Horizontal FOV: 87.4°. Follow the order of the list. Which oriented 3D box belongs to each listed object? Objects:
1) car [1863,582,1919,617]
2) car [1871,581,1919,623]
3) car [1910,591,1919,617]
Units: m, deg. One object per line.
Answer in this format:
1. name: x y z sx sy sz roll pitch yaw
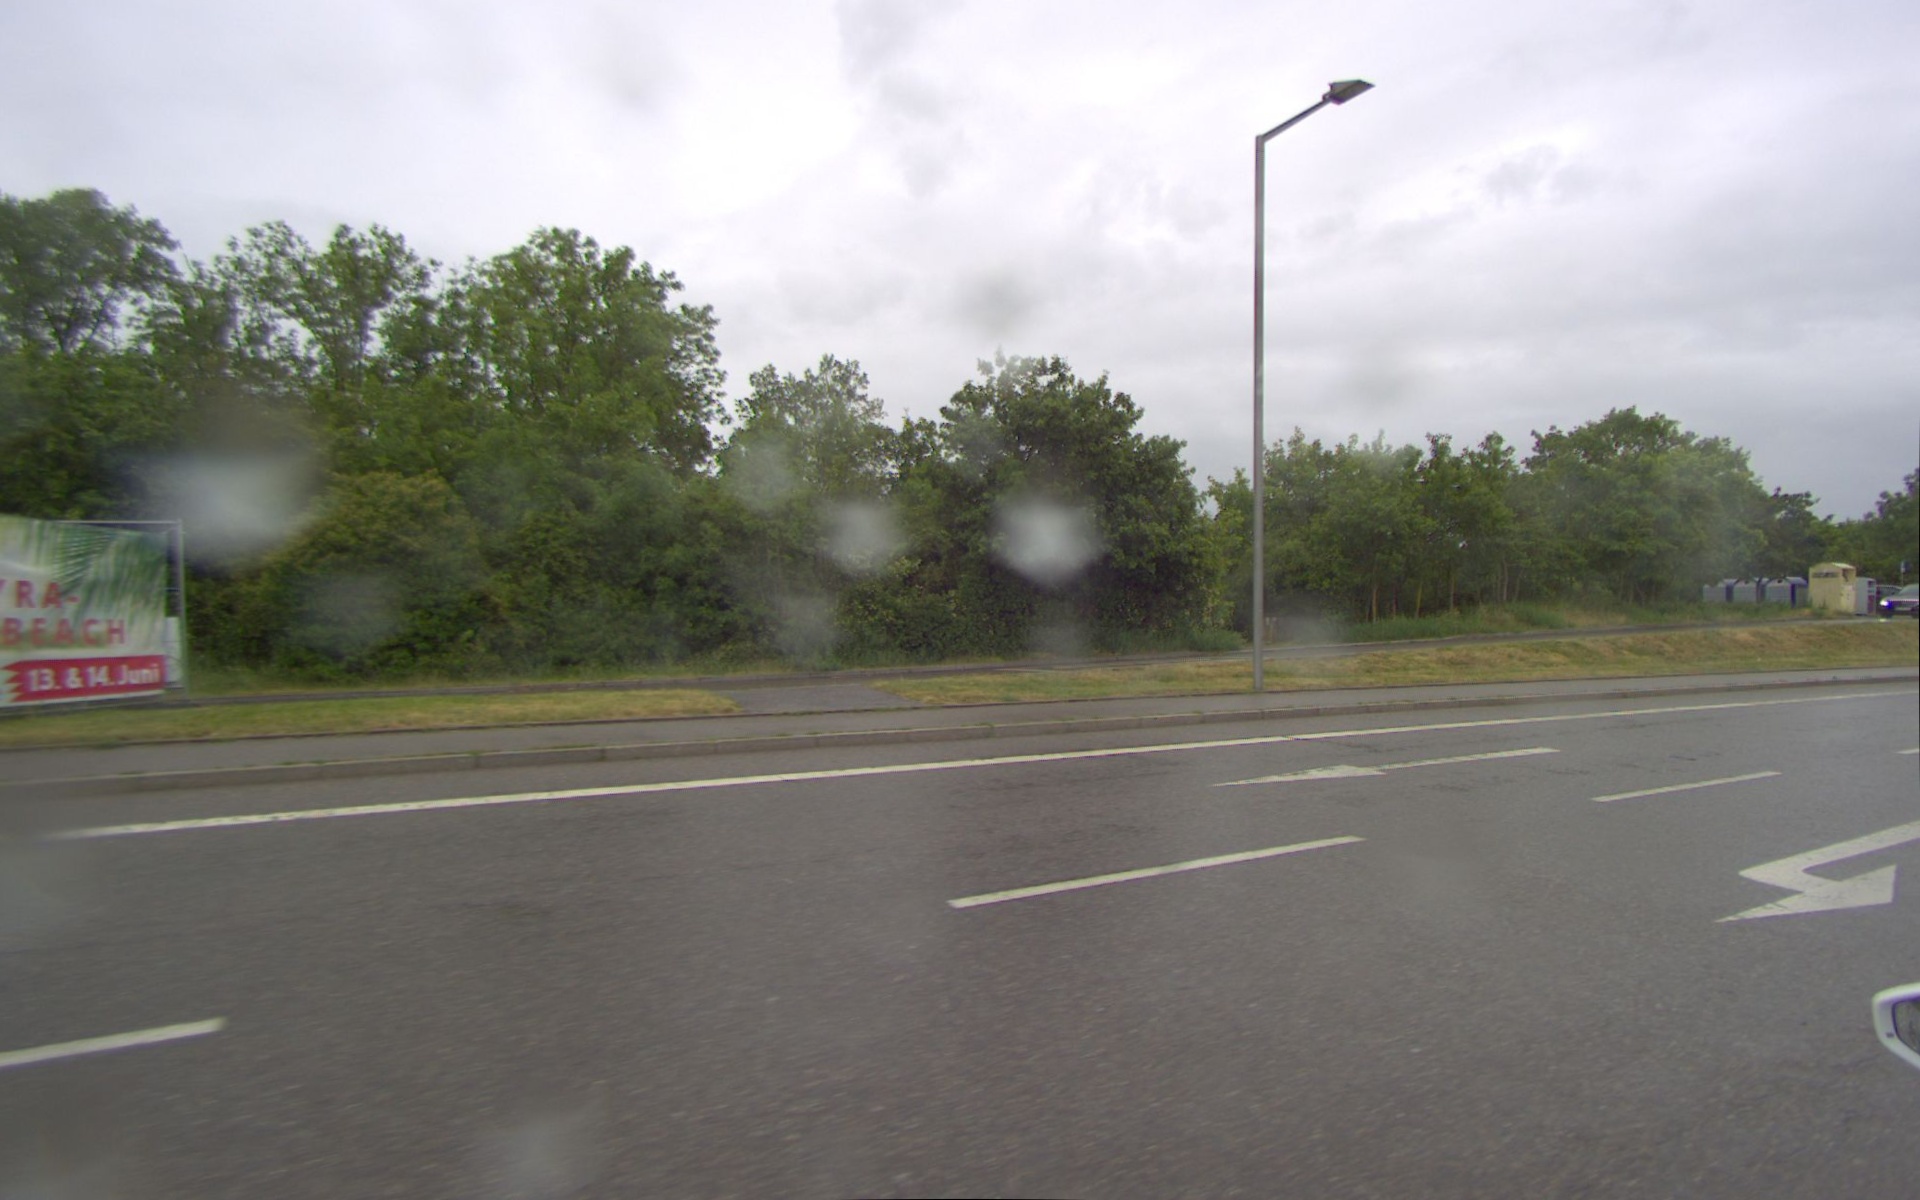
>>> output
1. car: 47.294 -0.030 48.807 1.977 1.716 4.693 0 0 -25
2. car: 39.803 0.049 41.444 4.481 1.590 1.685 -1 3 -26
3. car: 55.540 0.212 55.553 1.822 1.489 3.976 0 0 -24
